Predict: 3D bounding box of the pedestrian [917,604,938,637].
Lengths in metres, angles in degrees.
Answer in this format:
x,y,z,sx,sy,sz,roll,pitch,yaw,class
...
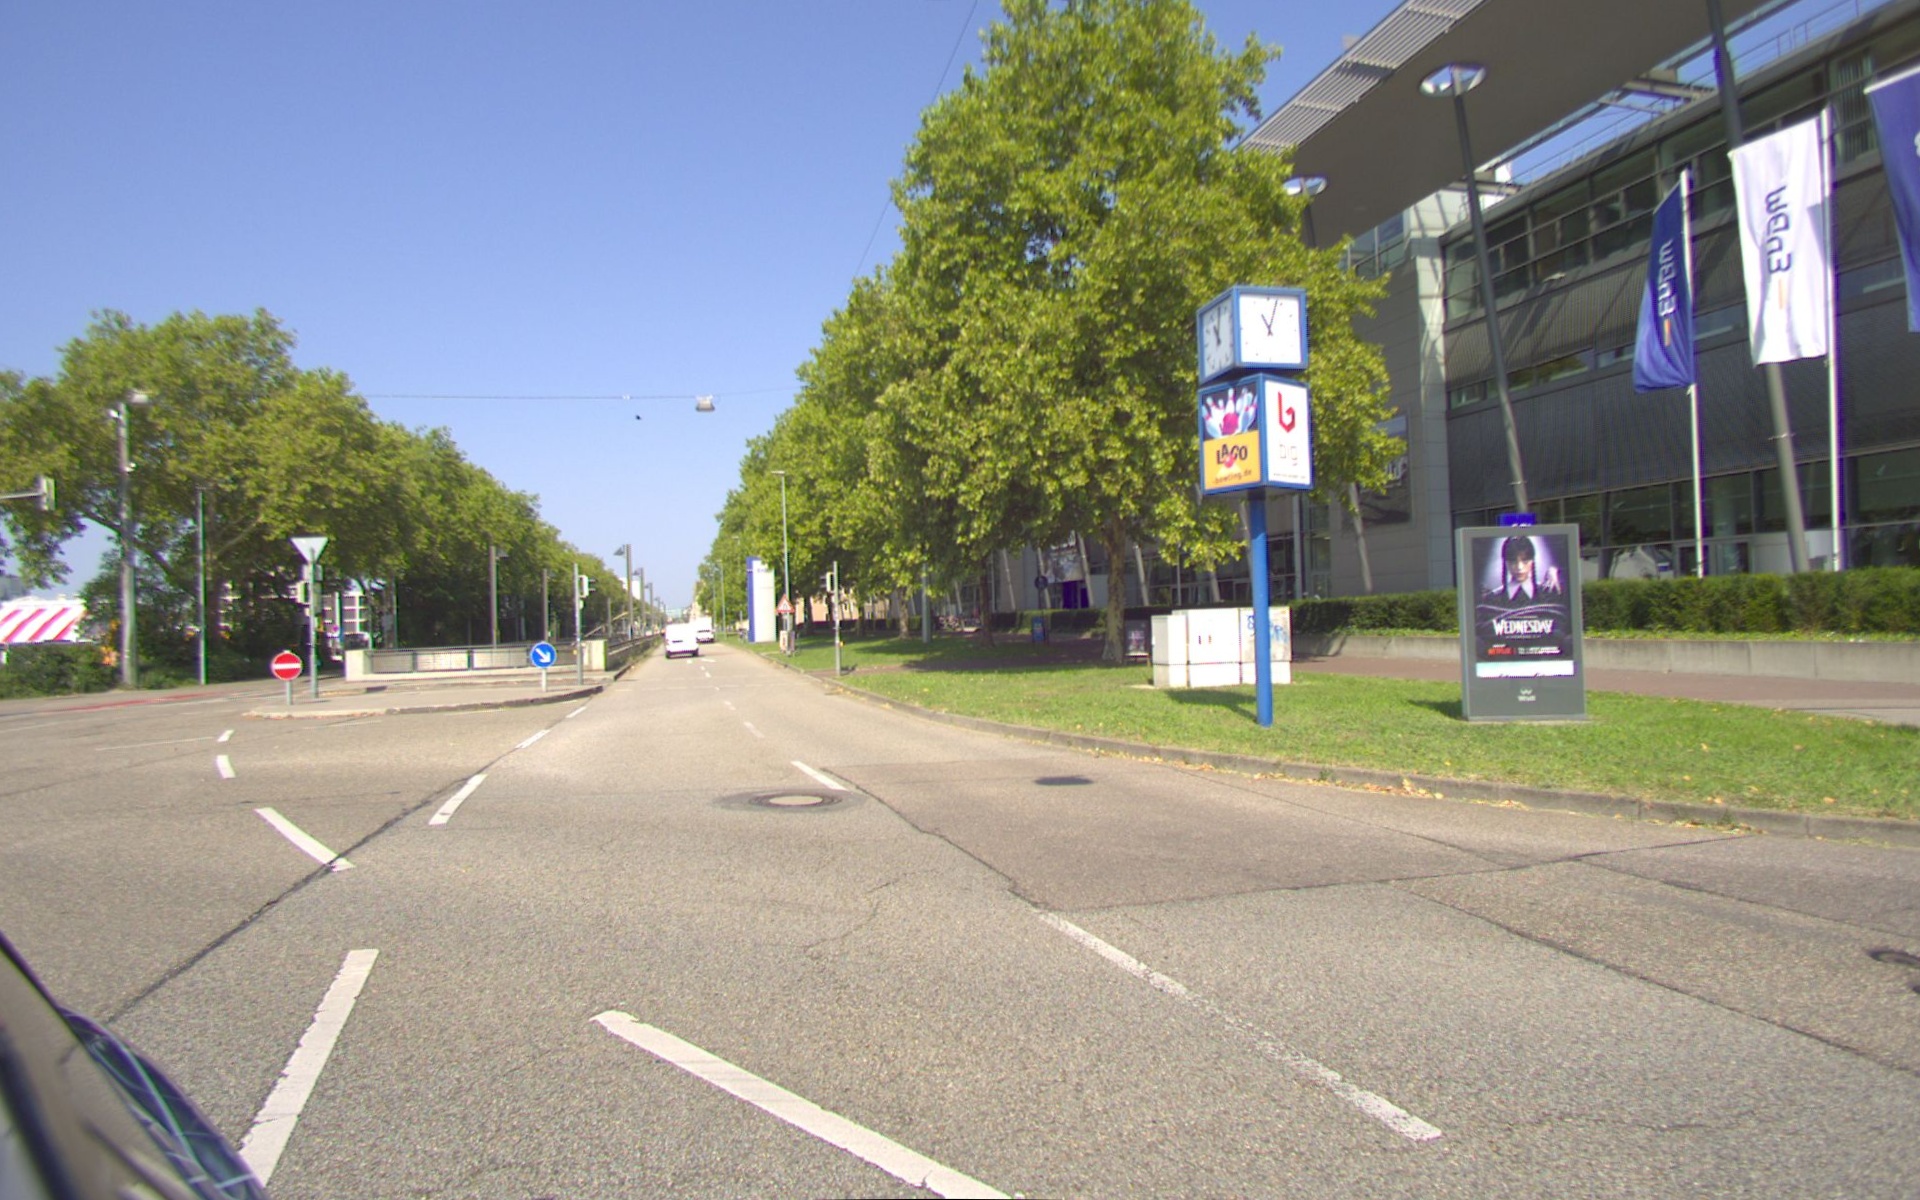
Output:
x,y,z,sx,sy,sz,roll,pitch,yaw,class
-2.109,1.327,64.933,0.933,2.028,1.352,-5,-1,-14,pedestrian

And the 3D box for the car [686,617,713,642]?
x,y,z,sx,sy,sz,roll,pitch,yaw,class
-26.577,3.022,103.096,2.254,2.249,4.669,-5,0,-17,car

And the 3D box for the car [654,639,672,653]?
x,y,z,sx,sy,sz,roll,pitch,yaw,class
-30.371,4.703,103.442,1.633,1.230,3.906,-5,0,-18,car

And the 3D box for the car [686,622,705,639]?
x,y,z,sx,sy,sz,roll,pitch,yaw,class
-36.752,4.288,140.606,2.254,2.095,4.669,-5,0,-17,car

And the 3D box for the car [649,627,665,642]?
x,y,z,sx,sy,sz,roll,pitch,yaw,class
-45.918,5.273,153.370,1.966,2.028,4.013,-5,-1,-21,car

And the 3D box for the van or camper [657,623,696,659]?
x,y,z,sx,sy,sz,roll,pitch,yaw,class
-16.279,2.374,57.939,1.815,1.962,4.963,0,-3,-19,van or camper

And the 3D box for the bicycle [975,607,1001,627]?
x,y,z,sx,sy,sz,roll,pitch,yaw,class
2.463,1.522,88.459,2.133,1.566,0.602,-5,-1,-23,bicycle

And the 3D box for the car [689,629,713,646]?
x,y,z,sx,sy,sz,roll,pitch,yaw,class
-25.251,3.634,98.450,1.966,1.464,4.012,-5,0,-17,car
